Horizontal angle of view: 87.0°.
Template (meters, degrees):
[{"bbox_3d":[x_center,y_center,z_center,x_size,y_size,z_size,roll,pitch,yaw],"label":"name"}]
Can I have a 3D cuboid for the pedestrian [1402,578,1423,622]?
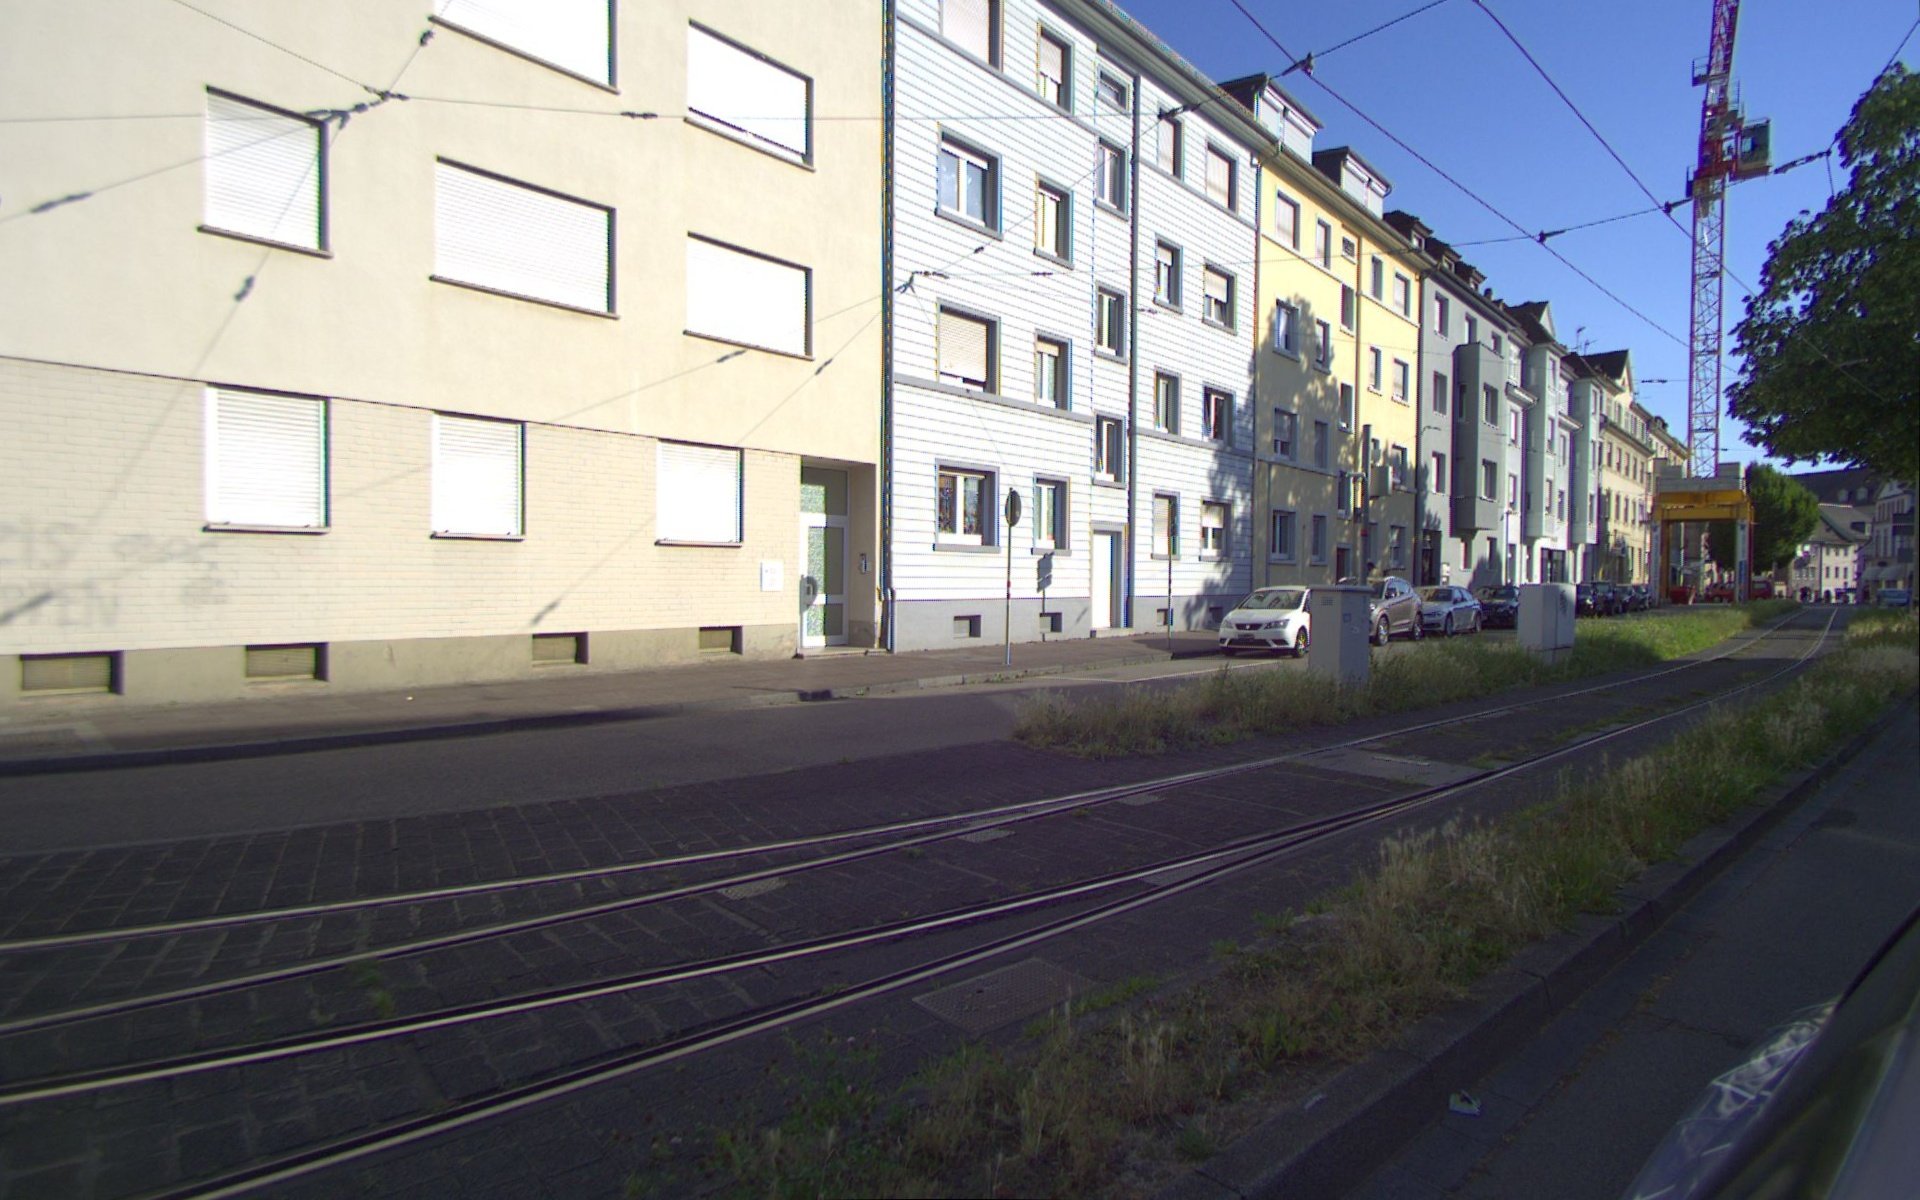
[{"bbox_3d":[15.193,0.005,33.965,0.523,1.458,0.454,1,2,42],"label":"pedestrian"}]

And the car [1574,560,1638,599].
[{"bbox_3d":[31.094,-1.004,48.686,1.992,1.770,4.147,2,2,41],"label":"car"}]

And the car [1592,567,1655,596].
[{"bbox_3d":[34.405,-0.944,52.449,1.994,1.403,4.143,3,2,43],"label":"car"}]

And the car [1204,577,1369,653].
[{"bbox_3d":[7.061,0.246,21.610,1.990,1.403,4.386,2,2,38],"label":"car"}]

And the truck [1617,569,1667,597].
[{"bbox_3d":[41.009,-1.017,60.805,1.992,1.605,4.036,2,2,41],"label":"truck"}]

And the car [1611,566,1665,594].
[{"bbox_3d":[37.631,-1.105,56.154,1.992,1.470,4.036,2,2,41],"label":"car"}]

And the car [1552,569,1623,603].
[{"bbox_3d":[27.807,-0.628,44.812,1.992,1.403,4.381,2,2,41],"label":"car"}]

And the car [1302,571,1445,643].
[{"bbox_3d":[10.496,0.088,25.503,1.992,1.591,4.574,2,3,41],"label":"car"}]

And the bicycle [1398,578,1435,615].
[{"bbox_3d":[15.457,-0.137,34.241,0.534,1.145,2.275,2,3,41],"label":"bicycle"}]

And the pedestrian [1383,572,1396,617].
[{"bbox_3d":[14.766,-0.195,34.807,0.303,1.533,0.438,1,1,34],"label":"pedestrian"}]

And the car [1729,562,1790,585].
[{"bbox_3d":[69.406,-2.310,87.920,4.053,1.945,1.971,2,2,40],"label":"car"}]

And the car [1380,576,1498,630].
[{"bbox_3d":[13.974,0.054,29.390,1.992,1.403,4.381,2,2,41],"label":"car"}]

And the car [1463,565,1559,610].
[{"bbox_3d":[18.795,-0.445,34.420,1.992,1.403,4.381,2,2,41],"label":"car"}]
